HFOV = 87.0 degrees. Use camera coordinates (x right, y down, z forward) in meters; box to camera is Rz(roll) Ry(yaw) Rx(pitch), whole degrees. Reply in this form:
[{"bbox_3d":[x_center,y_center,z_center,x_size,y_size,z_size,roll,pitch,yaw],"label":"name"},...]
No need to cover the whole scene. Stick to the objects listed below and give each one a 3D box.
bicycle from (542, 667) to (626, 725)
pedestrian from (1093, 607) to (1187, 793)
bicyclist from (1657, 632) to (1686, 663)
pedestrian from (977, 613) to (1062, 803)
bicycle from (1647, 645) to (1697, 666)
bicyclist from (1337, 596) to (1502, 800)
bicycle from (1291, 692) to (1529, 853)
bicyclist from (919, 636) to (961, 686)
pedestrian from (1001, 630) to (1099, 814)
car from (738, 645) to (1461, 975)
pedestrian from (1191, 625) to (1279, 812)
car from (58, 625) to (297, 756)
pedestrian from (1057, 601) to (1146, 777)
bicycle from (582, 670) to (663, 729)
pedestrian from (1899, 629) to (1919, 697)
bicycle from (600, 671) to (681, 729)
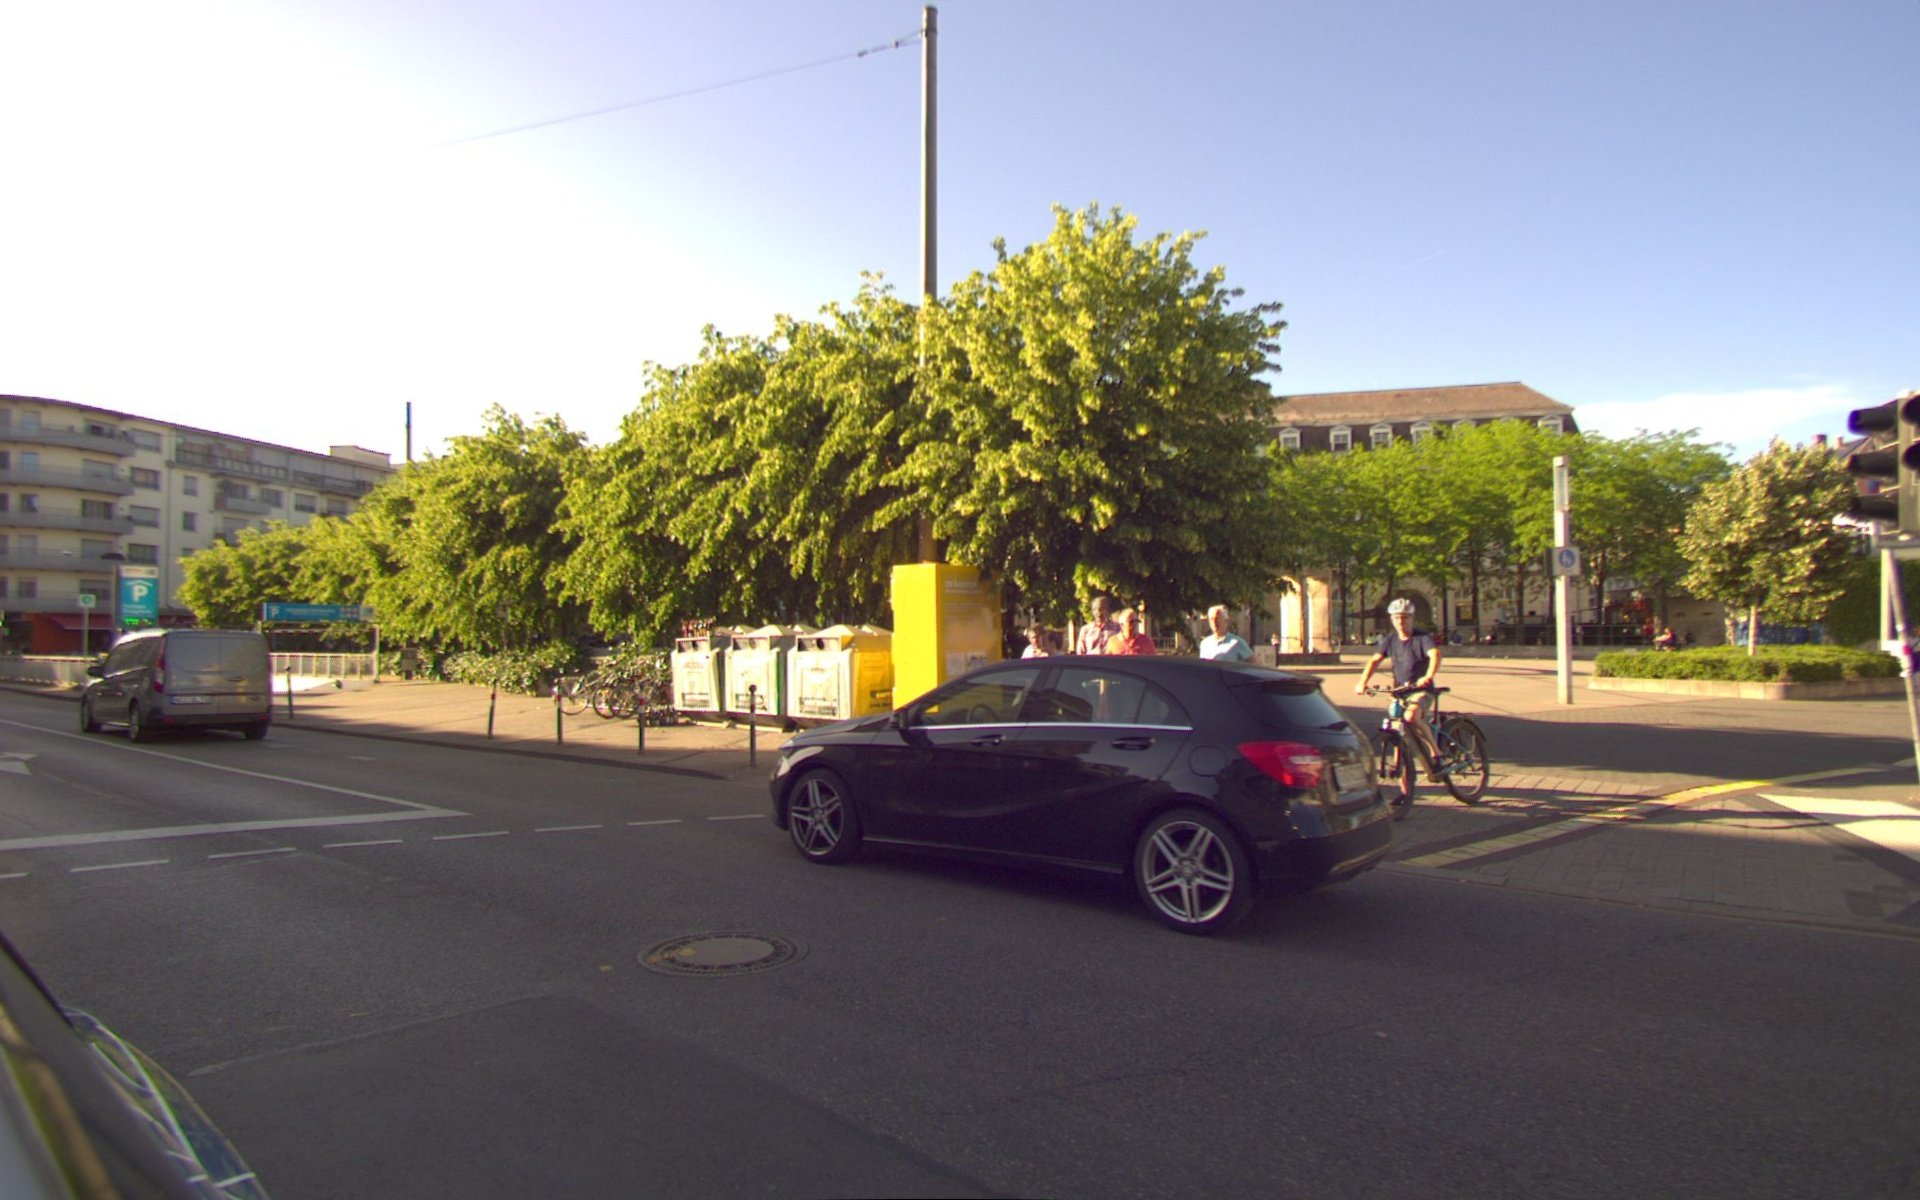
[{"bbox_3d":[-7.532,1.909,20.307,1.507,1.039,0.365,-2,-2,-38],"label":"bicycle"},{"bbox_3d":[1.830,1.002,10.374,0.771,1.825,0.590,0,-3,-6],"label":"pedestrian"},{"bbox_3d":[31.606,2.108,44.979,0.905,1.355,0.432,-2,-3,16],"label":"bicyclist"},{"bbox_3d":[0.604,1.085,10.454,0.640,1.872,0.627,0,-3,-21],"label":"pedestrian"},{"bbox_3d":[31.611,2.465,44.967,1.697,0.877,0.522,-2,-3,16],"label":"bicycle"},{"bbox_3d":[4.019,0.822,8.908,0.791,1.661,0.997,1,-3,-30],"label":"bicyclist"},{"bbox_3d":[3.958,1.437,8.843,2.139,1.080,0.766,-2,-2,-31],"label":"bicycle"},{"bbox_3d":[-0.675,2.045,33.989,0.927,1.621,1.173,2,-4,-34],"label":"bicyclist"},{"bbox_3d":[0.860,1.144,9.805,0.676,1.686,0.699,0,-3,-21],"label":"pedestrian"},{"bbox_3d":[0.675,1.069,6.452,4.247,1.434,1.732,-3,-6,37],"label":"car"},{"bbox_3d":[2.766,1.175,10.249,0.776,1.825,0.587,-1,-3,12],"label":"pedestrian"},{"bbox_3d":[-13.587,1.540,17.482,4.775,1.962,1.975,-3,-7,37],"label":"car"},{"bbox_3d":[1.624,1.004,11.626,0.783,1.933,0.601,-3,-4,40],"label":"pedestrian"},{"bbox_3d":[-6.445,1.886,19.395,0.363,1.039,1.531,-3,-4,37],"label":"bicycle"},{"bbox_3d":[23.369,1.511,24.394,1.059,1.608,0.875,1,-3,-39],"label":"pedestrian"},{"bbox_3d":[-6.024,1.872,19.148,0.363,1.010,1.541,-3,-4,37],"label":"bicycle"}]
